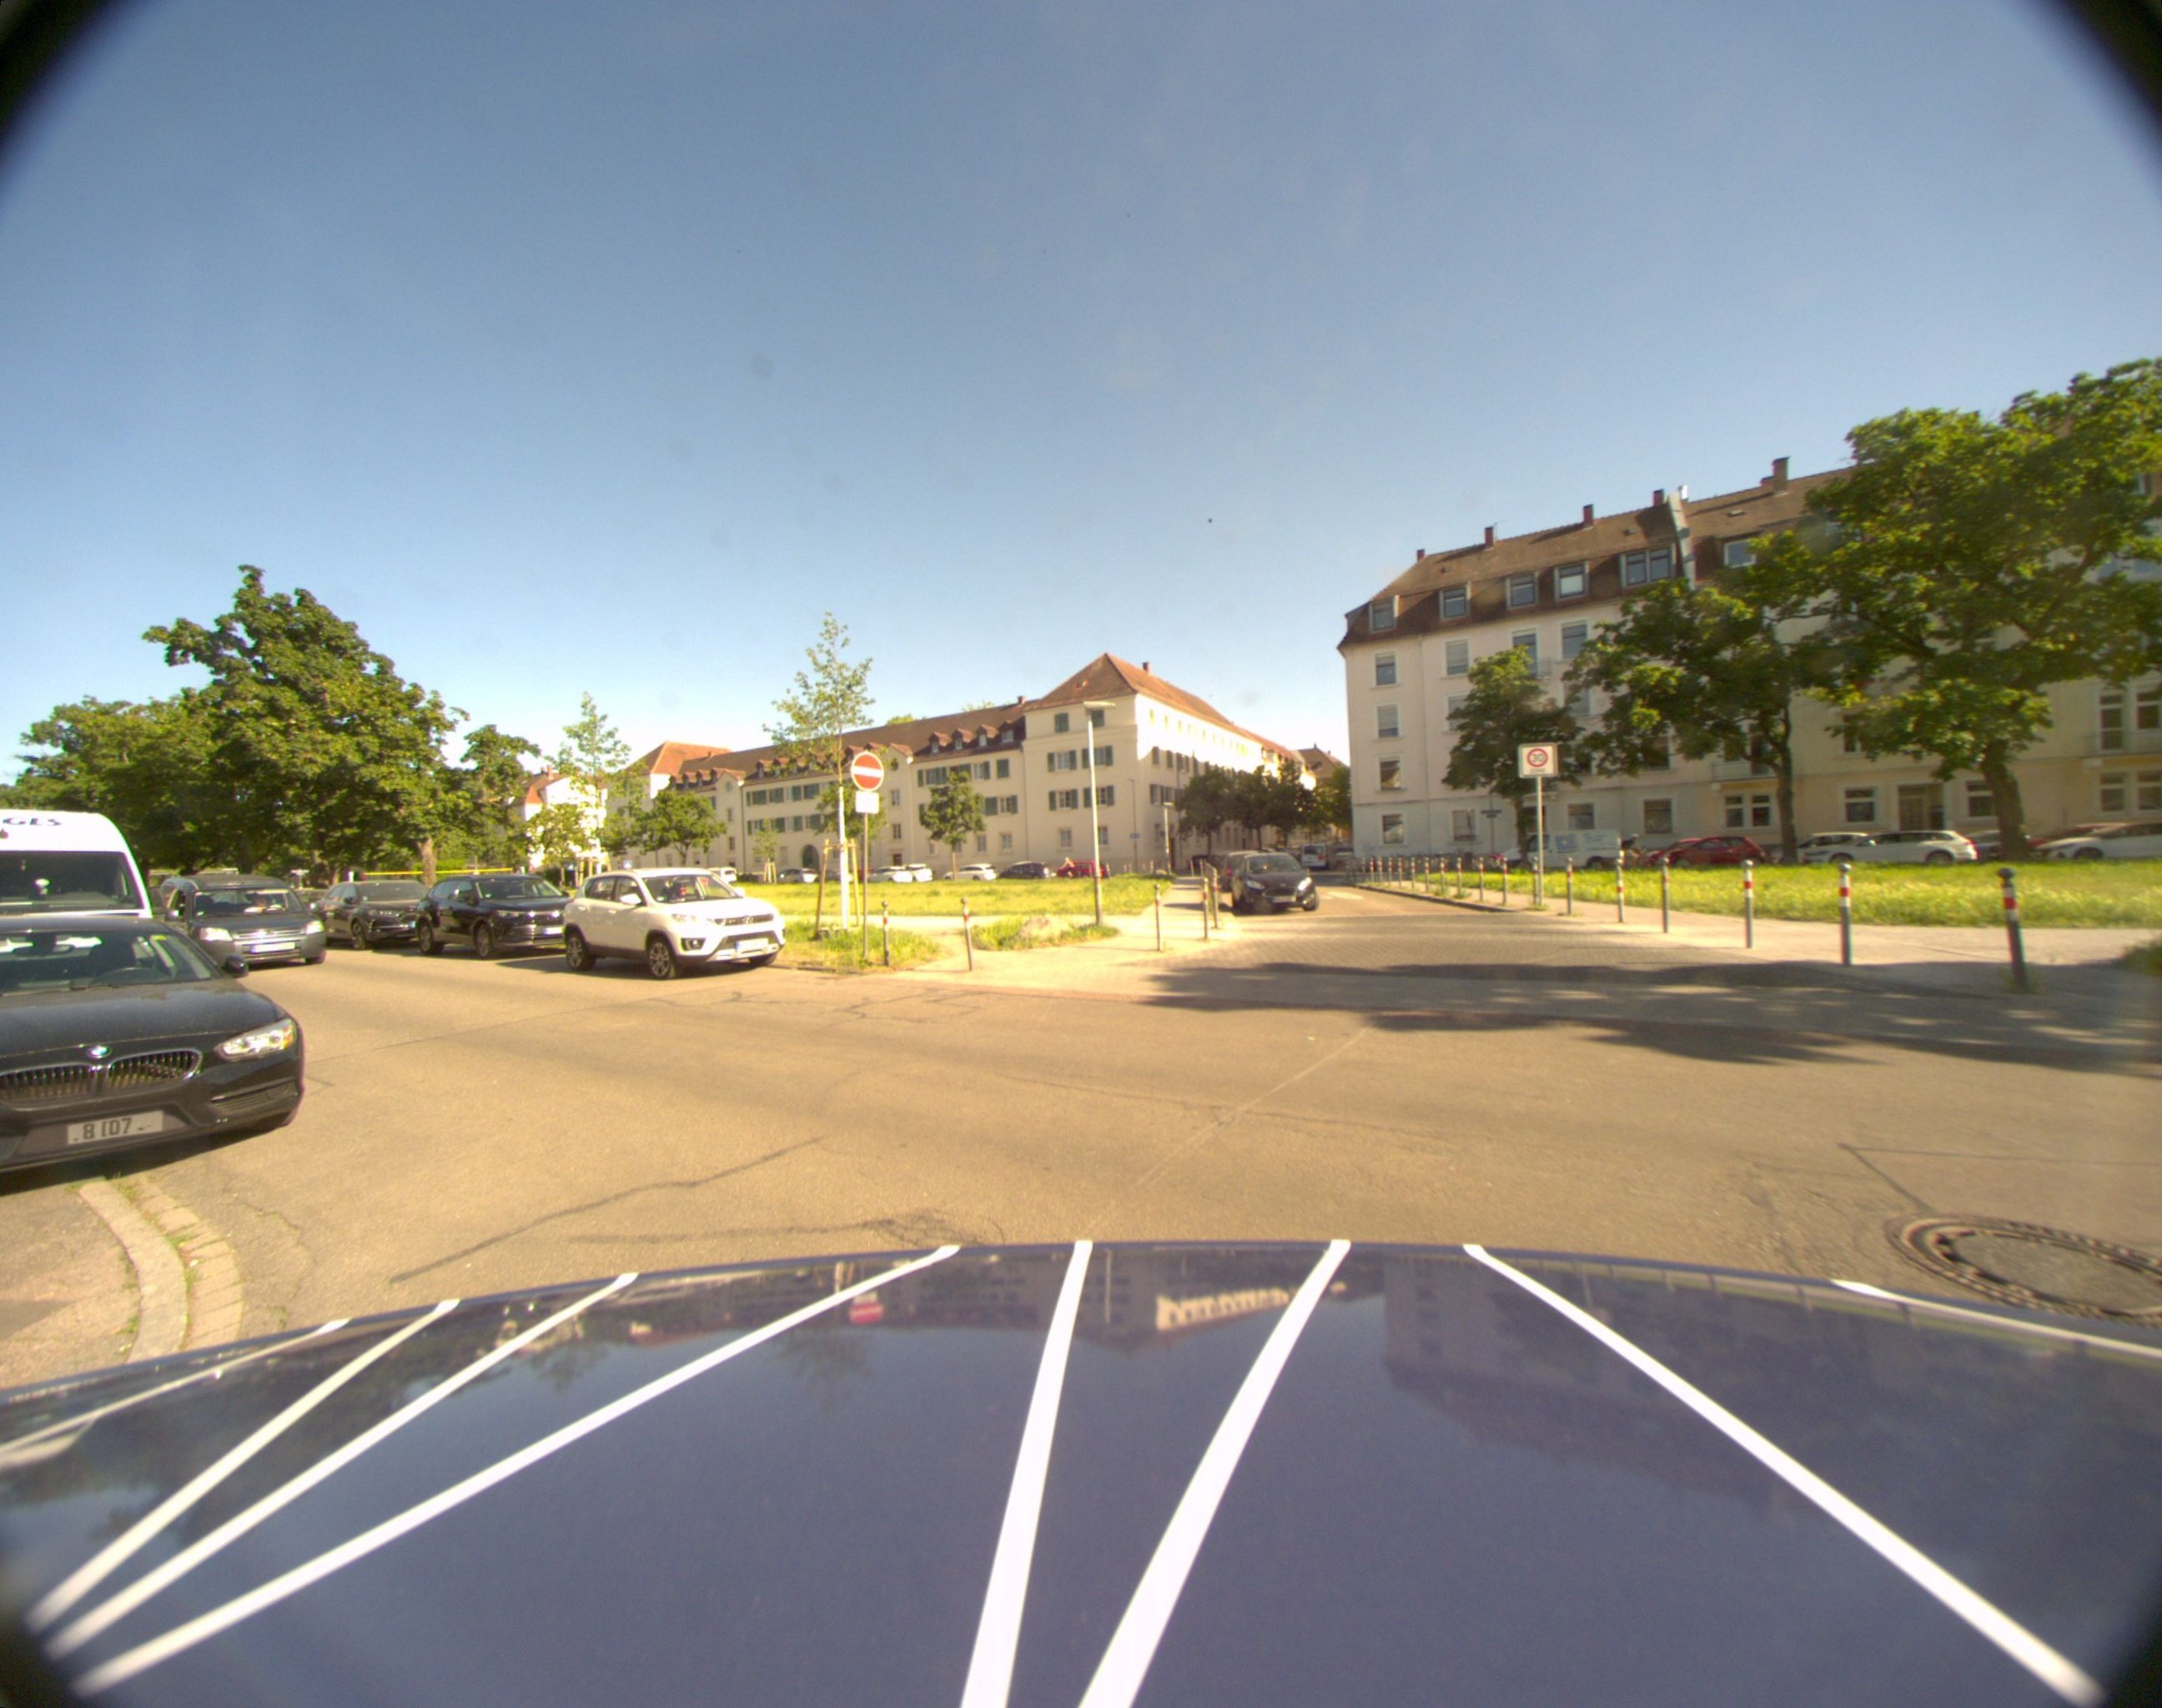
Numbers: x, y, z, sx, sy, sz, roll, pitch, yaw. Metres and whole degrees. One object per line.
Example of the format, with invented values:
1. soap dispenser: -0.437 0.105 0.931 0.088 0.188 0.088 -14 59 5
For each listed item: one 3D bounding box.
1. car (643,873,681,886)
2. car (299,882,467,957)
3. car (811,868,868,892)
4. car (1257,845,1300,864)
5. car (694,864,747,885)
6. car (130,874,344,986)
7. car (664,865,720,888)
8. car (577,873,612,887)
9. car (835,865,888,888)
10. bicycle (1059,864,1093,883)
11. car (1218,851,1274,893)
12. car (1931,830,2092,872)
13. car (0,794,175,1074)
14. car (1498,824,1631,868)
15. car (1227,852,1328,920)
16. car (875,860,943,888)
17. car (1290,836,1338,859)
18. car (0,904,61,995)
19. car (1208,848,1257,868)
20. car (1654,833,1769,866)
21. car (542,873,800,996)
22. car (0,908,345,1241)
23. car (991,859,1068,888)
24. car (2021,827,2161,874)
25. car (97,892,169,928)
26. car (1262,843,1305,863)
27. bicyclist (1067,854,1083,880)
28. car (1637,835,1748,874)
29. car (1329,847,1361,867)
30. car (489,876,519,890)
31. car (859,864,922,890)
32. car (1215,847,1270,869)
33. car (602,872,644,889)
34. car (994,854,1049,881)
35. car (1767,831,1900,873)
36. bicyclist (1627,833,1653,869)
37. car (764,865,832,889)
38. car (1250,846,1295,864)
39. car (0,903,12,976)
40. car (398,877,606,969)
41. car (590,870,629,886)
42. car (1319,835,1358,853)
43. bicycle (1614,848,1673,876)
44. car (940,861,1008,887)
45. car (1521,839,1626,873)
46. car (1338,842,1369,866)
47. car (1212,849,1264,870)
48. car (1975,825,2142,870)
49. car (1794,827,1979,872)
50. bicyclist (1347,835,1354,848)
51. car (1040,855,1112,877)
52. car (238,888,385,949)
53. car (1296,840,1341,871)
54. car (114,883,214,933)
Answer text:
1. car: -46.042 2.814 83.473 3.989 1.348 1.778 -2 0 31
2. car: -17.326 1.542 18.803 4.726 1.600 1.829 -2 -1 32
3. car: -19.441 2.071 61.131 3.998 1.740 2.329 -2 0 33
4. car: 18.921 0.026 72.804 3.606 1.631 1.835 -2 0 27
5. car: -37.025 2.121 78.102 5.244 1.973 2.232 -2 0 29
6. car: -16.081 1.357 14.446 4.146 1.779 1.907 -3 0 31
7. car: -36.670 2.153 71.610 5.244 1.973 2.232 -2 0 31
8. car: -51.088 2.734 79.794 3.505 1.325 1.658 -2 0 31
9. car: -19.579 1.971 67.743 4.156 1.894 2.275 -2 0 30
10. bicycle: -0.367 1.355 53.693 2.252 1.255 0.846 -2 1 31
11. car: 6.808 0.716 31.758 1.926 1.567 4.351 -2 0 8
12. car: 39.106 -0.135 32.078 3.851 1.605 1.894 -2 0 31
13. car: -13.274 0.872 9.178 6.823 2.696 2.154 -2 -1 33
14. car: 22.558 -0.360 35.735 5.085 1.861 2.092 -2 0 29
15. car: 4.868 0.735 19.408 1.918 1.401 4.350 -4 0 8
16. car: -14.683 1.709 64.956 5.244 2.203 2.543 -2 0 30
17. car: 27.260 -0.782 88.925 4.943 2.504 1.960 -2 1 27
18. car: -19.987 1.703 13.398 4.191 1.457 1.858 -2 1 30
19. car: 12.568 0.330 63.129 3.606 1.512 1.711 -2 0 27
20. car: 26.964 -0.169 32.651 3.517 1.272 1.702 -2 0 29
21. car: -6.641 1.168 12.184 4.276 1.637 1.766 -2 -1 33
22. car: -6.919 1.155 4.924 4.487 1.473 1.969 -2 -1 31
23. car: -3.517 1.343 51.421 4.693 1.810 2.169 -2 0 30
24. car: 36.713 -0.136 26.842 4.070 1.518 1.702 -2 0 29
25. car: -42.514 2.466 34.061 4.076 1.420 1.546 -2 0 32
26. car: 19.960 -0.128 74.968 3.703 1.824 1.960 -2 0 27
27. bicyclist: -0.406 0.940 53.694 0.799 1.792 0.676 -2 1 31
28. car: 30.162 0.030 37.630 4.043 1.741 2.004 -2 0 32
29. car: 21.913 0.221 62.925 1.933 1.560 3.889 -2 0 28
30. car: -78.023 3.944 102.686 3.989 1.783 1.960 -2 0 33
31. car: -14.597 1.787 58.197 4.246 1.810 2.247 -2 0 29
32. car: 13.791 0.339 65.016 4.231 1.691 1.709 -2 0 29
33. car: -46.459 2.681 77.136 4.224 1.574 1.798 -2 0 31
34. car: -4.589 1.047 58.571 3.886 2.002 1.674 -1 1 31
35. car: 34.466 -0.070 34.966 3.989 1.747 1.872 -2 0 31
36. bicyclist: 26.164 -0.142 35.582 0.877 1.680 0.633 -2 0 31
37. car: -23.758 1.959 63.752 5.439 1.810 2.463 -2 0 33
38. car: 17.747 0.051 70.343 3.606 1.512 1.863 -2 0 27
39. car: -24.029 1.803 15.749 4.129 1.466 1.887 -2 0 32
40. car: -12.071 1.338 15.761 4.702 1.628 1.852 -2 -1 32
41. car: -63.657 3.177 102.640 2.037 1.944 3.823 -2 0 33
42. car: 36.239 -1.390 106.883 4.943 2.381 1.960 -2 1 27
43. bicycle: 26.278 0.388 35.527 2.148 1.251 0.716 -2 1 31
44. car: -8.626 1.614 61.143 5.145 1.875 2.164 -2 0 31
45. car: 25.815 0.114 40.002 4.441 1.577 2.003 -2 0 28
46. car: 24.199 -0.020 67.365 1.995 1.962 5.062 -2 0 27
47. car: 12.378 0.441 59.908 3.658 1.512 1.716 -2 0 30
48. car: 38.059 -0.222 29.713 3.583 1.592 1.784 -2 0 31
49. car: 31.508 -0.162 29.933 4.686 1.552 1.702 -2 0 29
50. bicyclist: 30.432 -1.413 85.749 0.532 1.356 0.787 -2 1 28
51. car: -0.371 0.916 55.957 4.945 1.476 2.004 -2 0 31
52. car: -21.648 1.759 21.345 4.458 1.510 1.883 -2 -2 30
53. car: 16.785 0.075 53.508 2.135 2.002 4.585 -2 0 28
54. car: -37.337 2.123 30.899 4.978 1.774 1.874 -1 1 32
